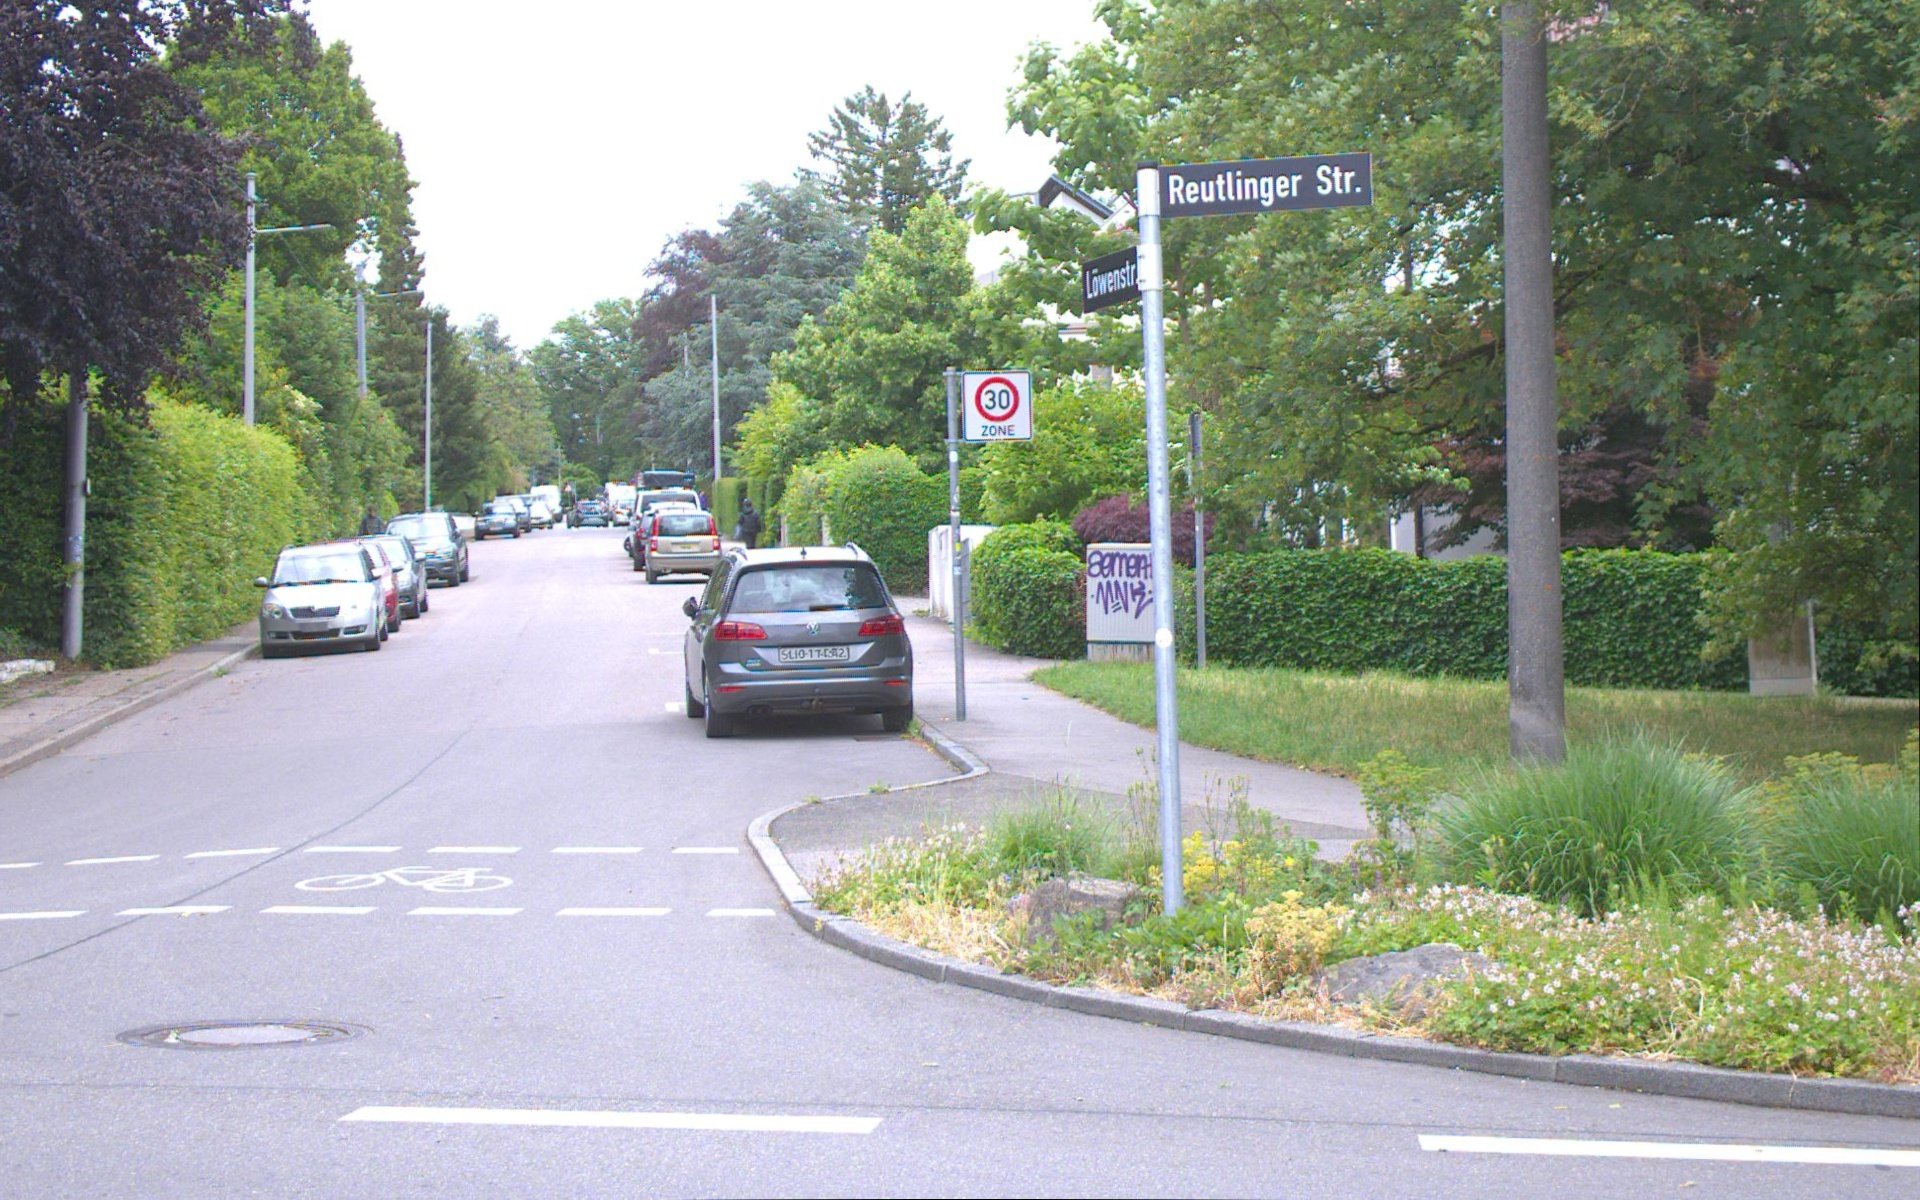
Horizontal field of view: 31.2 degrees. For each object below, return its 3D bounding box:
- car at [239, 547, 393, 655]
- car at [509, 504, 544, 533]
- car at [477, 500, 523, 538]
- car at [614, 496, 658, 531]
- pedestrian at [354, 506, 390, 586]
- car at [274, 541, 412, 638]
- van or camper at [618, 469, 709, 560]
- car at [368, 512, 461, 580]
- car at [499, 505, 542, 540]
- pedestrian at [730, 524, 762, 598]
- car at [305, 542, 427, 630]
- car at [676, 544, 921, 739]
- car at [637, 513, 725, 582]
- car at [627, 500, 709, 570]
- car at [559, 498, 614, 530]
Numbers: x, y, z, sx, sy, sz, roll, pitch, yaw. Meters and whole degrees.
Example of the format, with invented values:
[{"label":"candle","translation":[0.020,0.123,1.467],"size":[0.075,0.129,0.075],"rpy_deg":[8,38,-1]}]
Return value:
[{"label":"car","translation":[-9.148,-0.021,49.057],"size":[1.946,1.437,4.001],"rpy_deg":[-1,1,-8]},{"label":"car","translation":[-21.078,-3.948,167.145],"size":[1.655,1.330,3.782],"rpy_deg":[1,1,-8]},{"label":"car","translation":[-18.349,-3.214,137.222],"size":[1.714,1.458,3.657],"rpy_deg":[1,1,-6]},{"label":"car","translation":[-17.032,-4.544,180.570],"size":[1.939,1.790,4.196],"rpy_deg":[1,1,-10]},{"label":"pedestrian","translation":[-15.031,-1.377,87.936],"size":[0.853,2.007,0.873],"rpy_deg":[1,1,-11]},{"label":"car","translation":[-9.683,-0.193,54.179],"size":[1.946,1.437,4.001],"rpy_deg":[-1,1,-8]},{"label":"van or camper","translation":[-8.208,-2.330,94.811],"size":[2.112,2.396,5.247],"rpy_deg":[-1,1,-8]},{"label":"car","translation":[-12.192,-1.209,76.993],"size":[1.946,1.437,4.001],"rpy_deg":[-1,1,-8]},{"label":"car","translation":[-18.791,-3.302,147.063],"size":[1.714,1.458,3.657],"rpy_deg":[1,1,-6]},{"label":"pedestrian","translation":[-5.469,-1.005,87.803],"size":[0.757,1.865,0.620],"rpy_deg":[1,1,-6]},{"label":"car","translation":[-10.271,-0.262,59.663],"size":[1.946,1.437,4.001],"rpy_deg":[-1,1,-8]},{"label":"car","translation":[-1.467,0.303,29.866],"size":[1.817,1.531,4.001],"rpy_deg":[-2,1,-7]},{"label":"car","translation":[-5.952,-1.126,73.083],"size":[1.608,1.409,3.474],"rpy_deg":[1,1,-9]},{"label":"car","translation":[-7.063,-1.554,82.916],"size":[1.746,1.634,3.729],"rpy_deg":[-1,1,-8]},{"label":"car","translation":[-19.435,-4.478,178.690],"size":[1.815,1.568,4.001],"rpy_deg":[-1,1,-21]}]
